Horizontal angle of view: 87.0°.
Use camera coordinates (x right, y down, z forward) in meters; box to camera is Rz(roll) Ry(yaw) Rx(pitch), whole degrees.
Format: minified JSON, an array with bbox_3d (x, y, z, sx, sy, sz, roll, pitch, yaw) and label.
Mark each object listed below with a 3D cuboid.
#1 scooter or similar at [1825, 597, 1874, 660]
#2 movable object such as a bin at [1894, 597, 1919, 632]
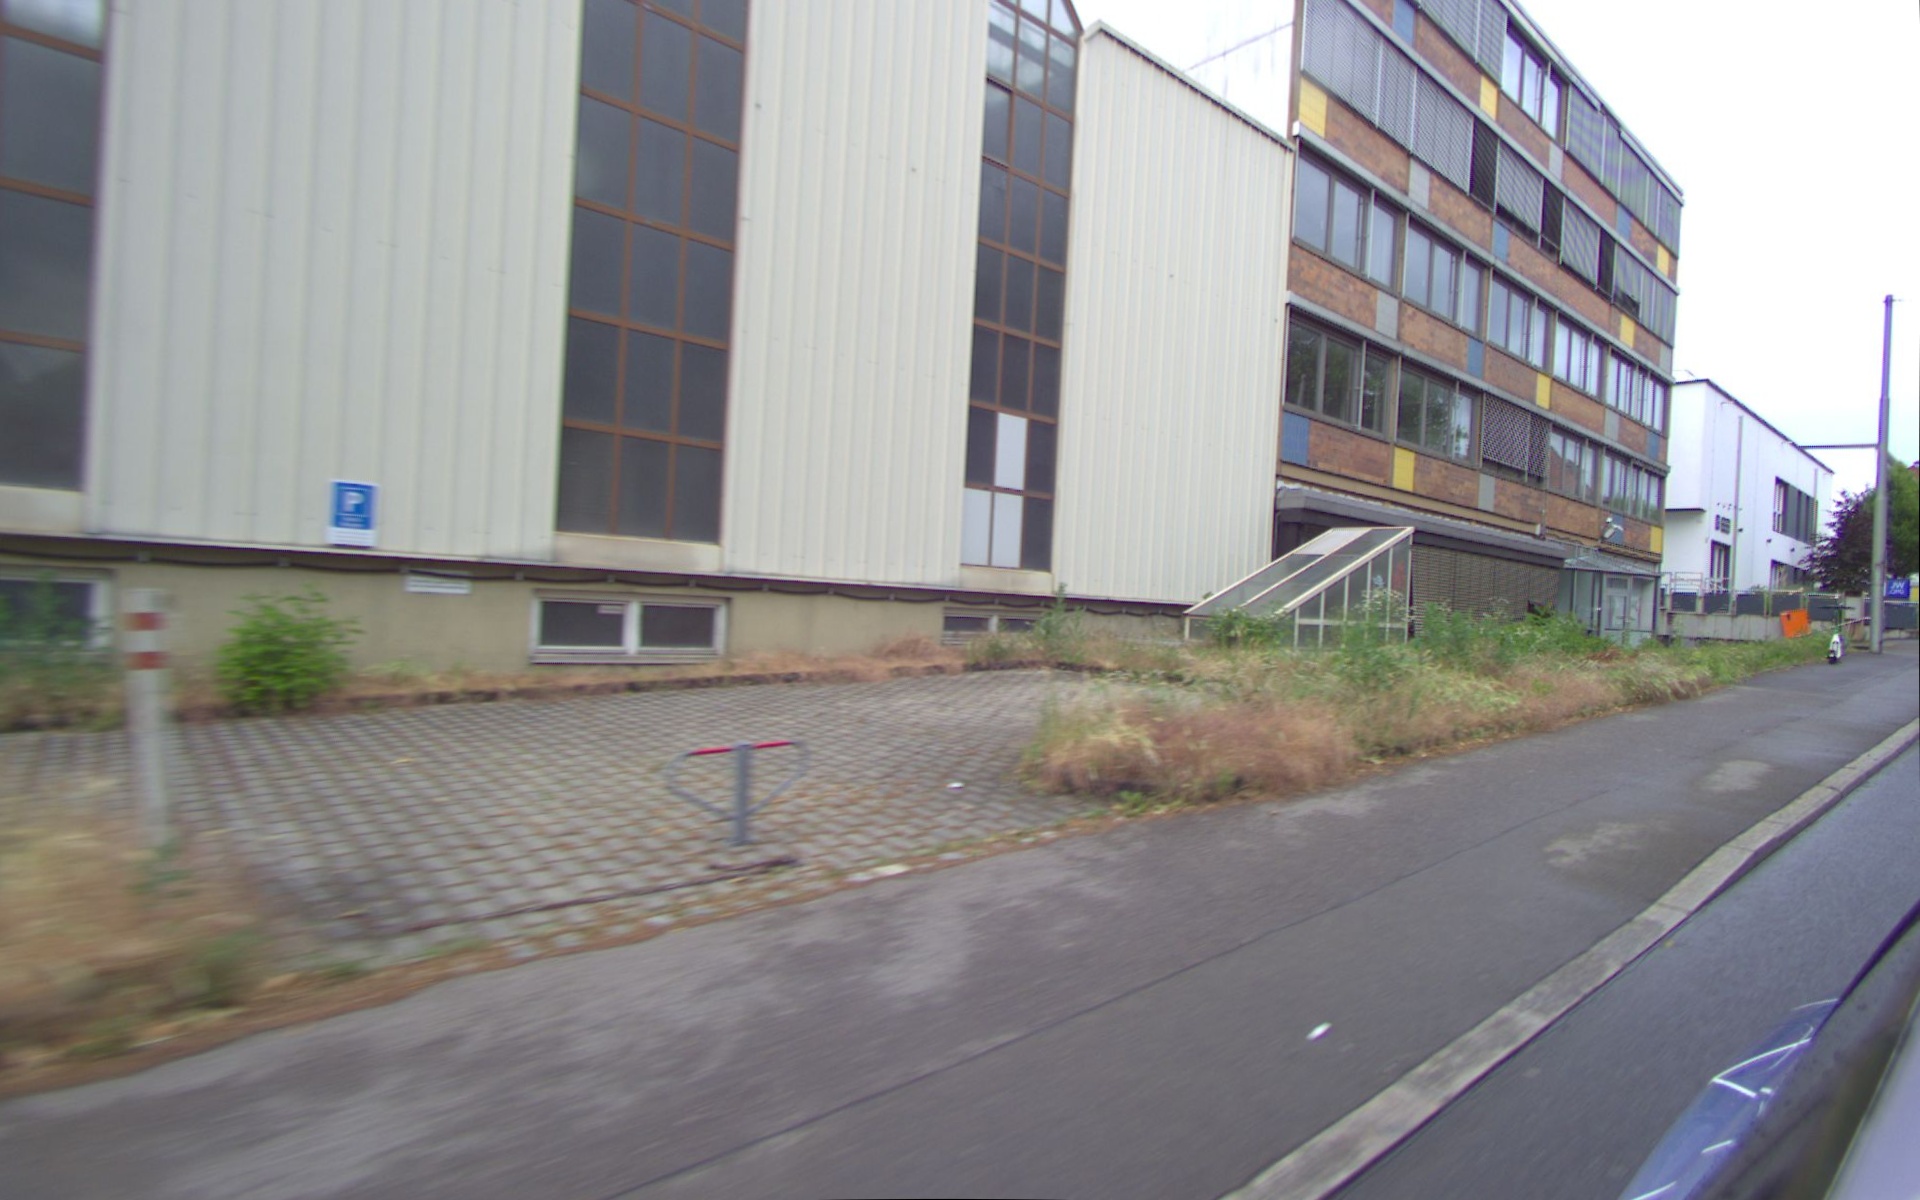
[{"bbox_3d":[17.805,0.551,20.251,0.605,1.176,1.672,2,2,45],"label":"scooter or similar"},{"bbox_3d":[31.106,0.466,33.059,0.764,1.095,0.697,0,4,-39],"label":"movable object such as a bin"}]
